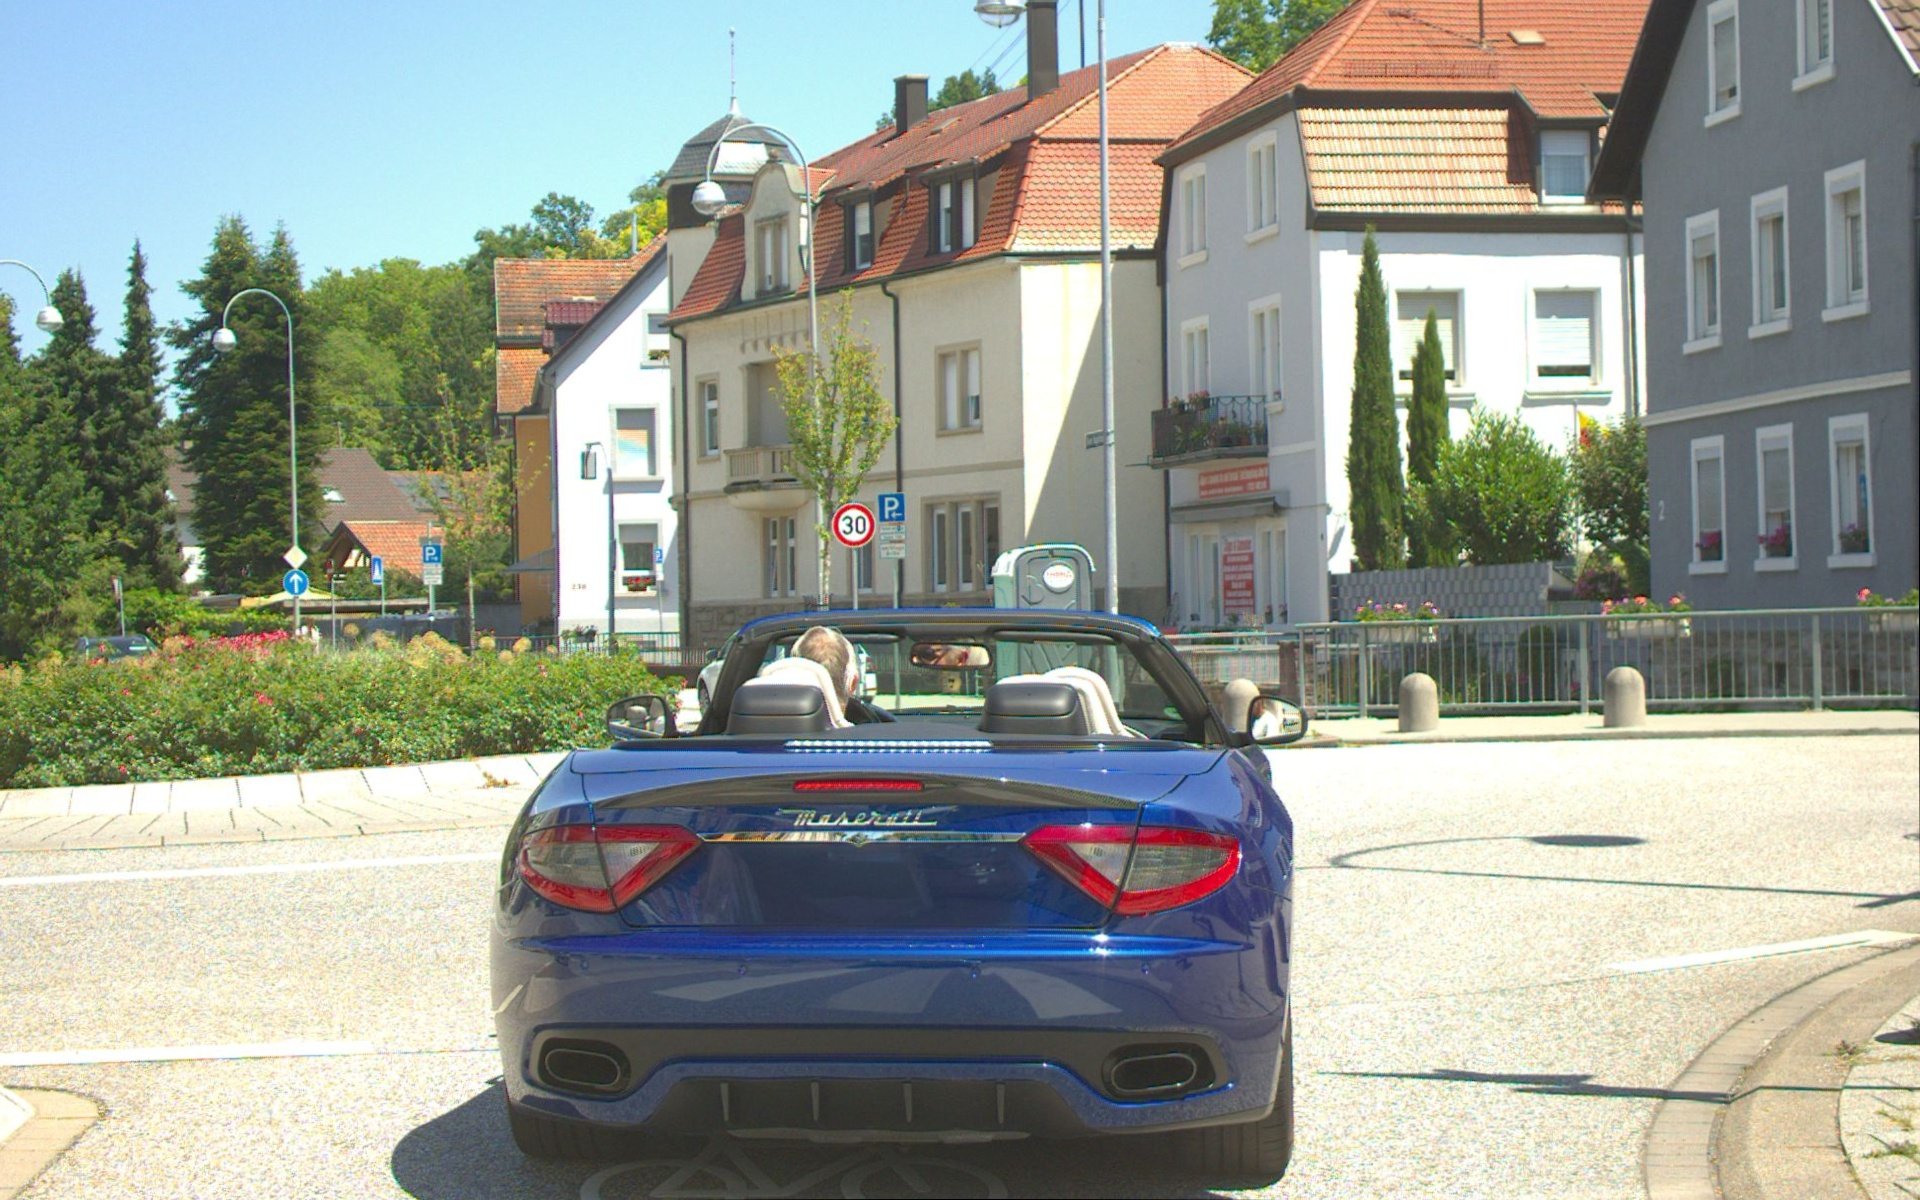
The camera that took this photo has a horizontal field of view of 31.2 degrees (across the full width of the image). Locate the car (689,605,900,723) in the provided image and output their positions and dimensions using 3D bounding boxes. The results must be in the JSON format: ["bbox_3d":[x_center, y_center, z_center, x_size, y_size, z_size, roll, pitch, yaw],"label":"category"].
[{"bbox_3d":[-2.501,0.968,50.847,1.918,1.607,4.148,-2,-1,-20],"label":"car"}]

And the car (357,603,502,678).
[{"bbox_3d":[-12.050,0.923,77.905,1.850,1.583,4.000,-3,0,-30],"label":"car"}]

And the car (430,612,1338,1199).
[{"bbox_3d":[-0.129,0.722,9.393,1.910,1.356,4.285,0,0,1],"label":"car"}]

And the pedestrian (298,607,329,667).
[{"bbox_3d":[-17.132,0.981,91.074,0.611,1.580,0.587,-2,0,-27],"label":"pedestrian"}]
